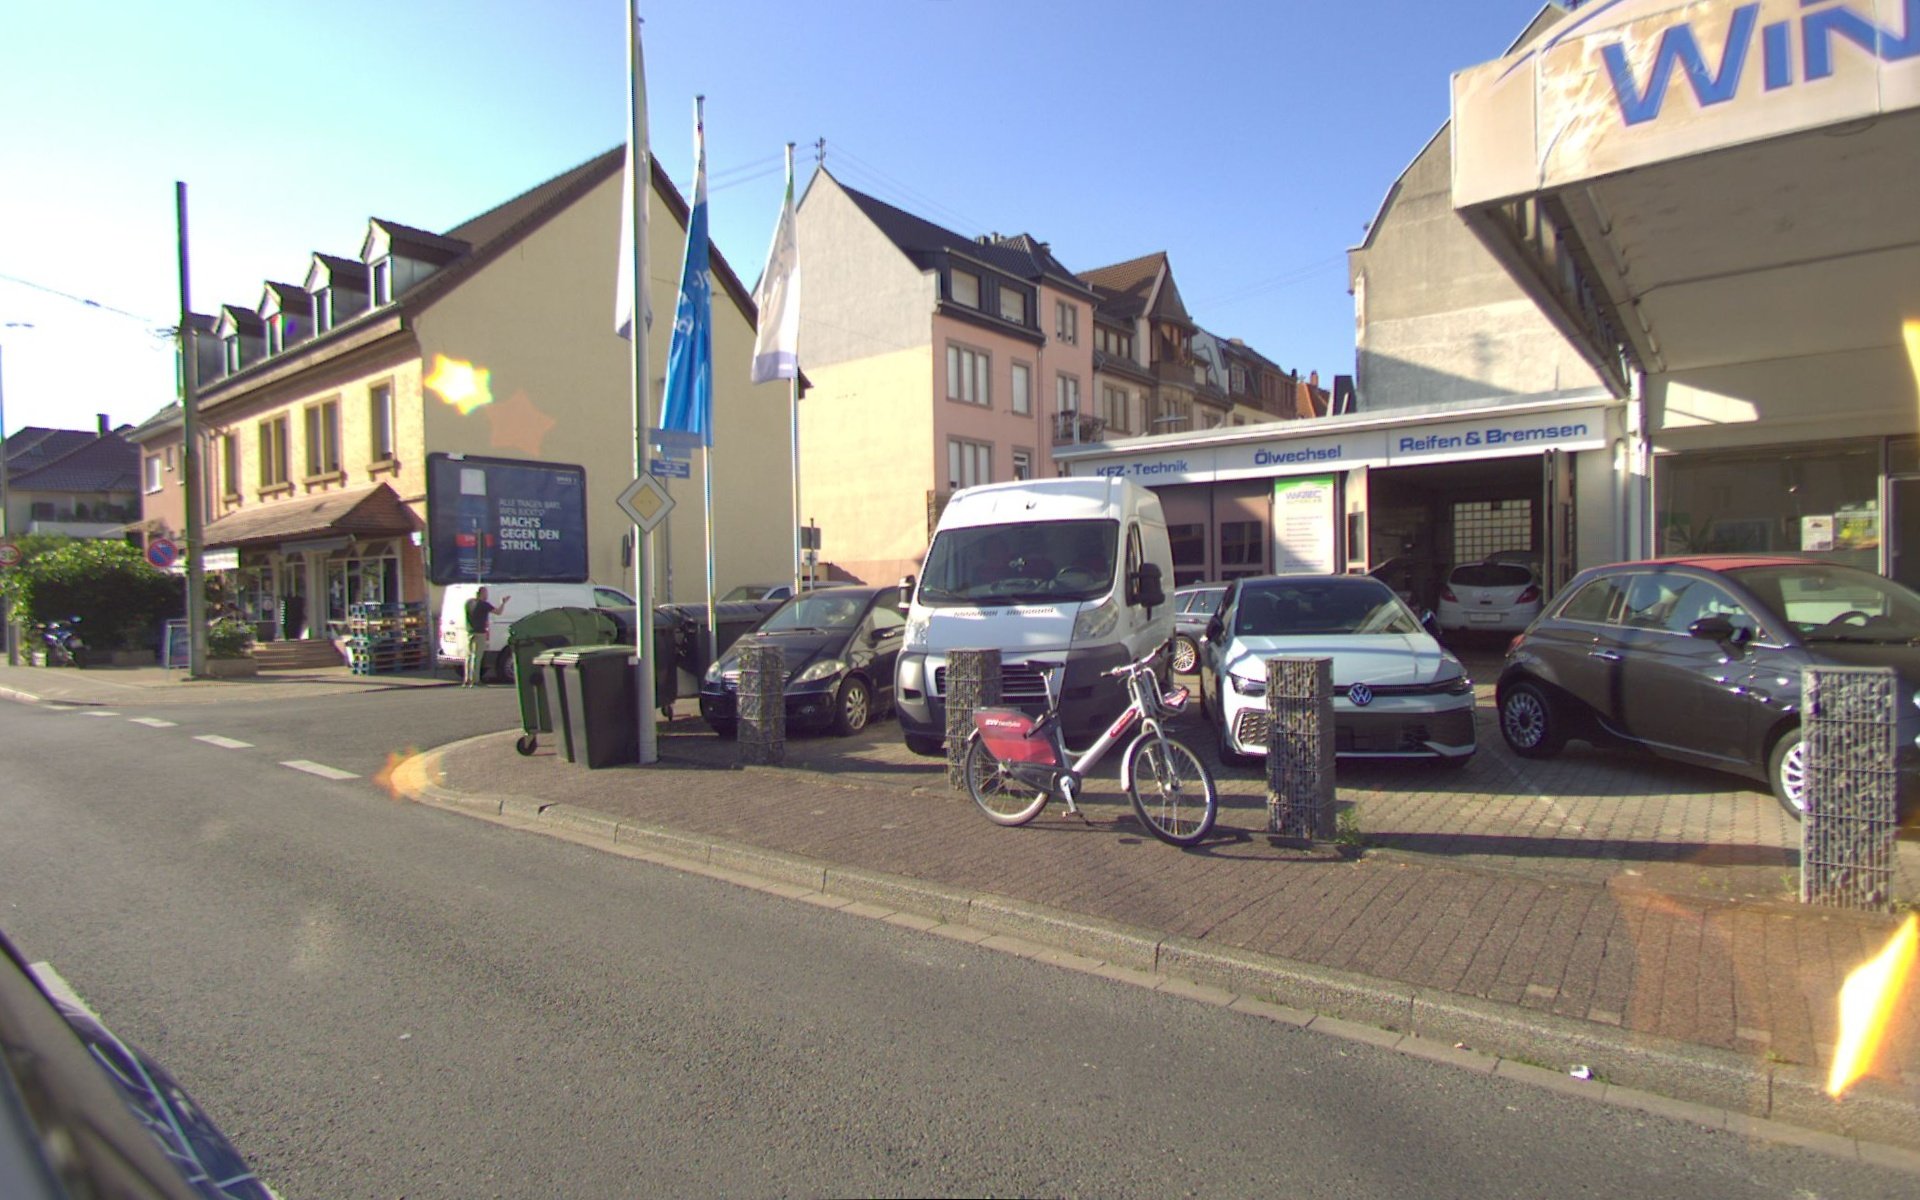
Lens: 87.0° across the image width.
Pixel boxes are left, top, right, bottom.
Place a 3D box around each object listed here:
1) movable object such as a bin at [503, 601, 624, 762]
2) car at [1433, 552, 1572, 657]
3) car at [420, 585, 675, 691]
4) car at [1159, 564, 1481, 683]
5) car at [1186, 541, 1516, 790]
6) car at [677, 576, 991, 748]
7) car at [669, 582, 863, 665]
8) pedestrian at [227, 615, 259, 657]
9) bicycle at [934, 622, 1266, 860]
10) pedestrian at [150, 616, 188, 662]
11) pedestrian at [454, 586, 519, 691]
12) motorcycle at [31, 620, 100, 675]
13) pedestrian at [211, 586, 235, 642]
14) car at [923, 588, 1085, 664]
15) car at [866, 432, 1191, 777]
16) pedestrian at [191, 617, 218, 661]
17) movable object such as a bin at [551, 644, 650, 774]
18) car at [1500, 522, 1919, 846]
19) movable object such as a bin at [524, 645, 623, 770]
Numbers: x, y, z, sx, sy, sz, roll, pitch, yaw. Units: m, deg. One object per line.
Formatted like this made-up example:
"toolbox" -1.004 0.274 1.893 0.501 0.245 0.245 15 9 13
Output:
"movable object such as a bin" -4.159 0.821 10.605 1.040 1.494 1.316 -3 -2 -23
"car" 10.199 0.006 18.861 1.769 1.722 4.265 -2 1 35
"car" -8.485 0.690 21.180 1.996 1.947 4.573 -1 0 36
"car" 5.429 0.343 15.535 4.309 1.580 1.751 -2 1 38
"car" 2.969 0.399 8.577 1.753 1.580 3.989 -2 1 9
"car" -1.234 0.568 11.709 1.762 1.580 3.968 -2 1 24
"car" -4.856 0.526 26.043 1.995 1.909 4.918 -1 0 34
"pedestrian" -19.575 0.968 27.630 0.632 1.118 0.557 -1 0 39
"bicycle" 0.798 0.742 5.934 1.774 1.186 0.718 -1 0 30
"pedestrian" -22.325 1.080 28.560 0.666 1.253 0.737 -1 0 42
"pedestrian" -8.757 0.699 18.708 0.820 1.882 0.784 -2 0 41
"motorcycle" -22.800 1.186 25.784 2.228 1.292 0.832 -1 1 36
"pedestrian" -20.832 0.388 28.611 0.502 1.572 0.459 0 0 40
"car" 1.142 0.562 24.671 1.998 1.536 3.948 4 4 38
"car" 1.019 -0.002 10.039 2.090 2.488 5.044 -2 1 17
"pedestrian" -21.961 1.129 29.409 0.465 1.268 0.518 -1 0 40
"movable object such as a bin" -3.237 0.961 9.113 0.631 1.077 0.581 -2 -2 -39
"car" 5.281 0.380 6.363 1.596 1.580 3.400 -2 1 -8
"movable object such as a bin" -3.660 0.994 9.578 0.652 1.070 0.586 -5 1 -39
